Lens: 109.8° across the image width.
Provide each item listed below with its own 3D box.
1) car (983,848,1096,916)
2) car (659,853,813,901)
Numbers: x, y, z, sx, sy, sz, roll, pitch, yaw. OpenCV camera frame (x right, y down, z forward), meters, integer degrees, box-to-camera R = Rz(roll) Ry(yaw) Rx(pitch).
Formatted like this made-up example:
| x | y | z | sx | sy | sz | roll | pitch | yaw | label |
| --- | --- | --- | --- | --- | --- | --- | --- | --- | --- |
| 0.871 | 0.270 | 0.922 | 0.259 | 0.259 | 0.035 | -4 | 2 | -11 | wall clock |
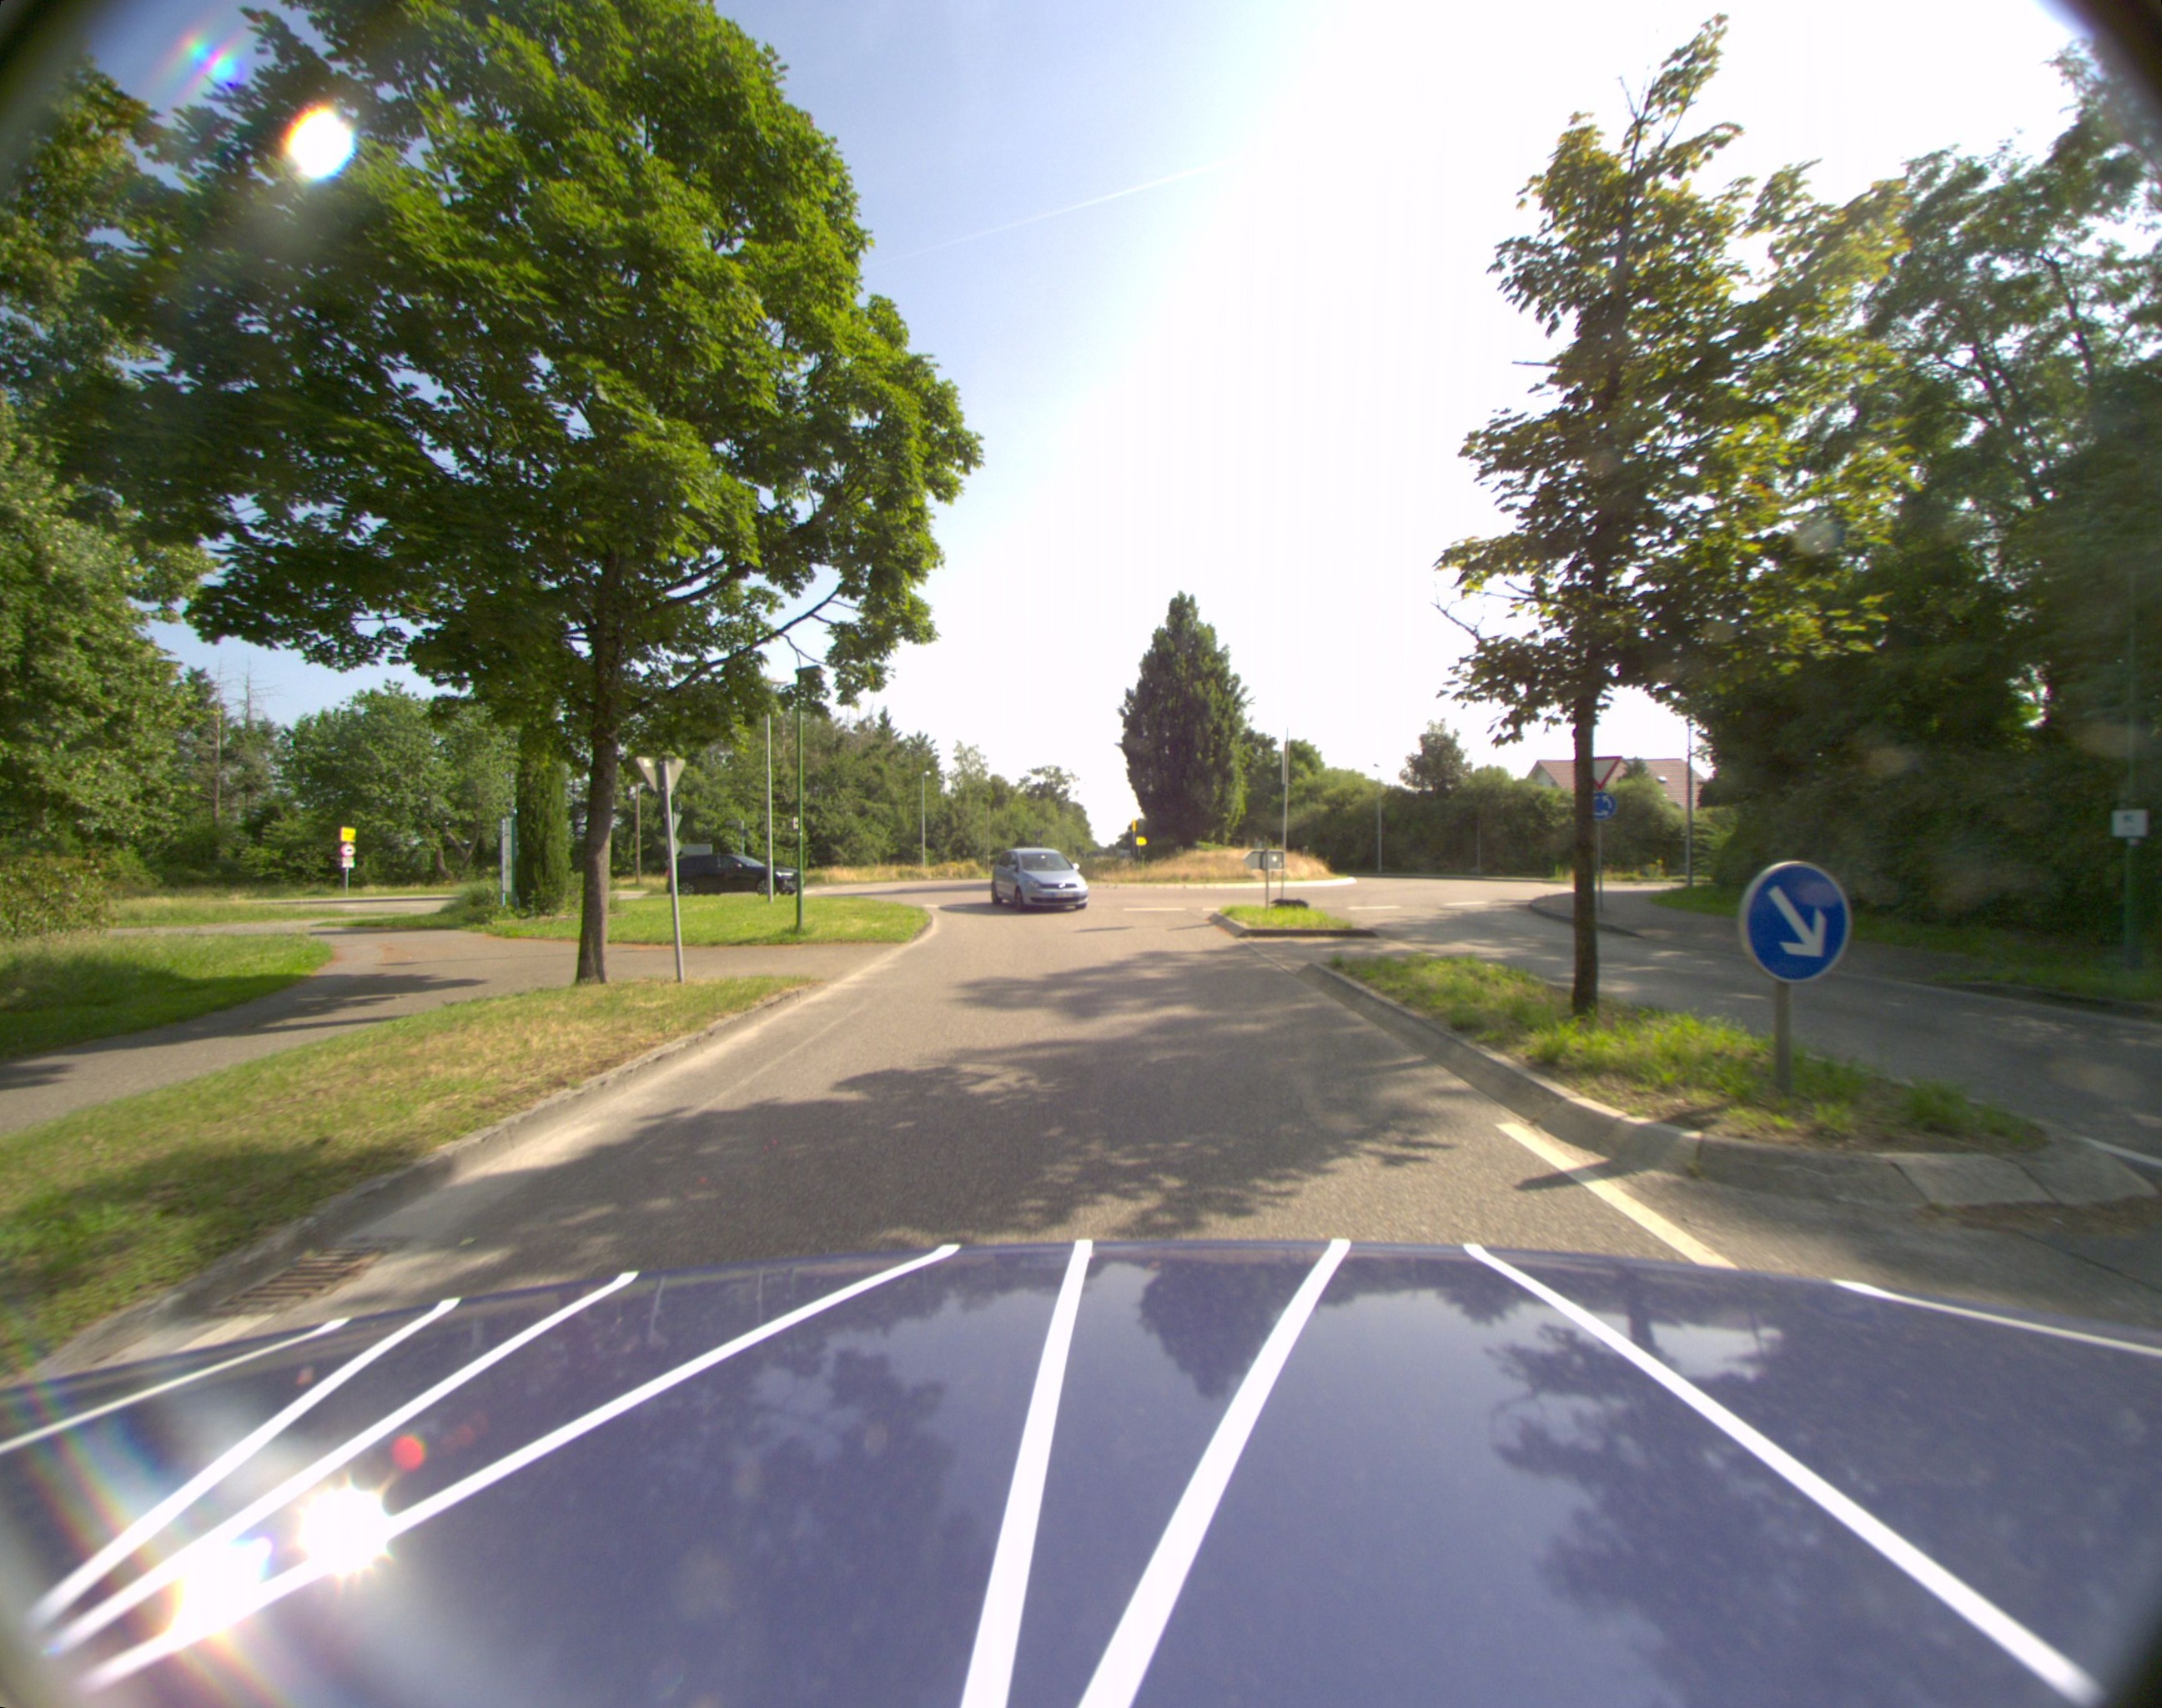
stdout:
| x | y | z | sx | sy | sz | roll | pitch | yaw | label |
| --- | --- | --- | --- | --- | --- | --- | --- | --- | --- |
| -1.232 | 0.664 | 20.337 | 1.811 | 1.592 | 4.261 | -1 | 1 | -20 | car |
| -12.271 | 0.789 | 27.292 | 4.619 | 1.592 | 1.952 | -1 | 1 | -4 | car |
